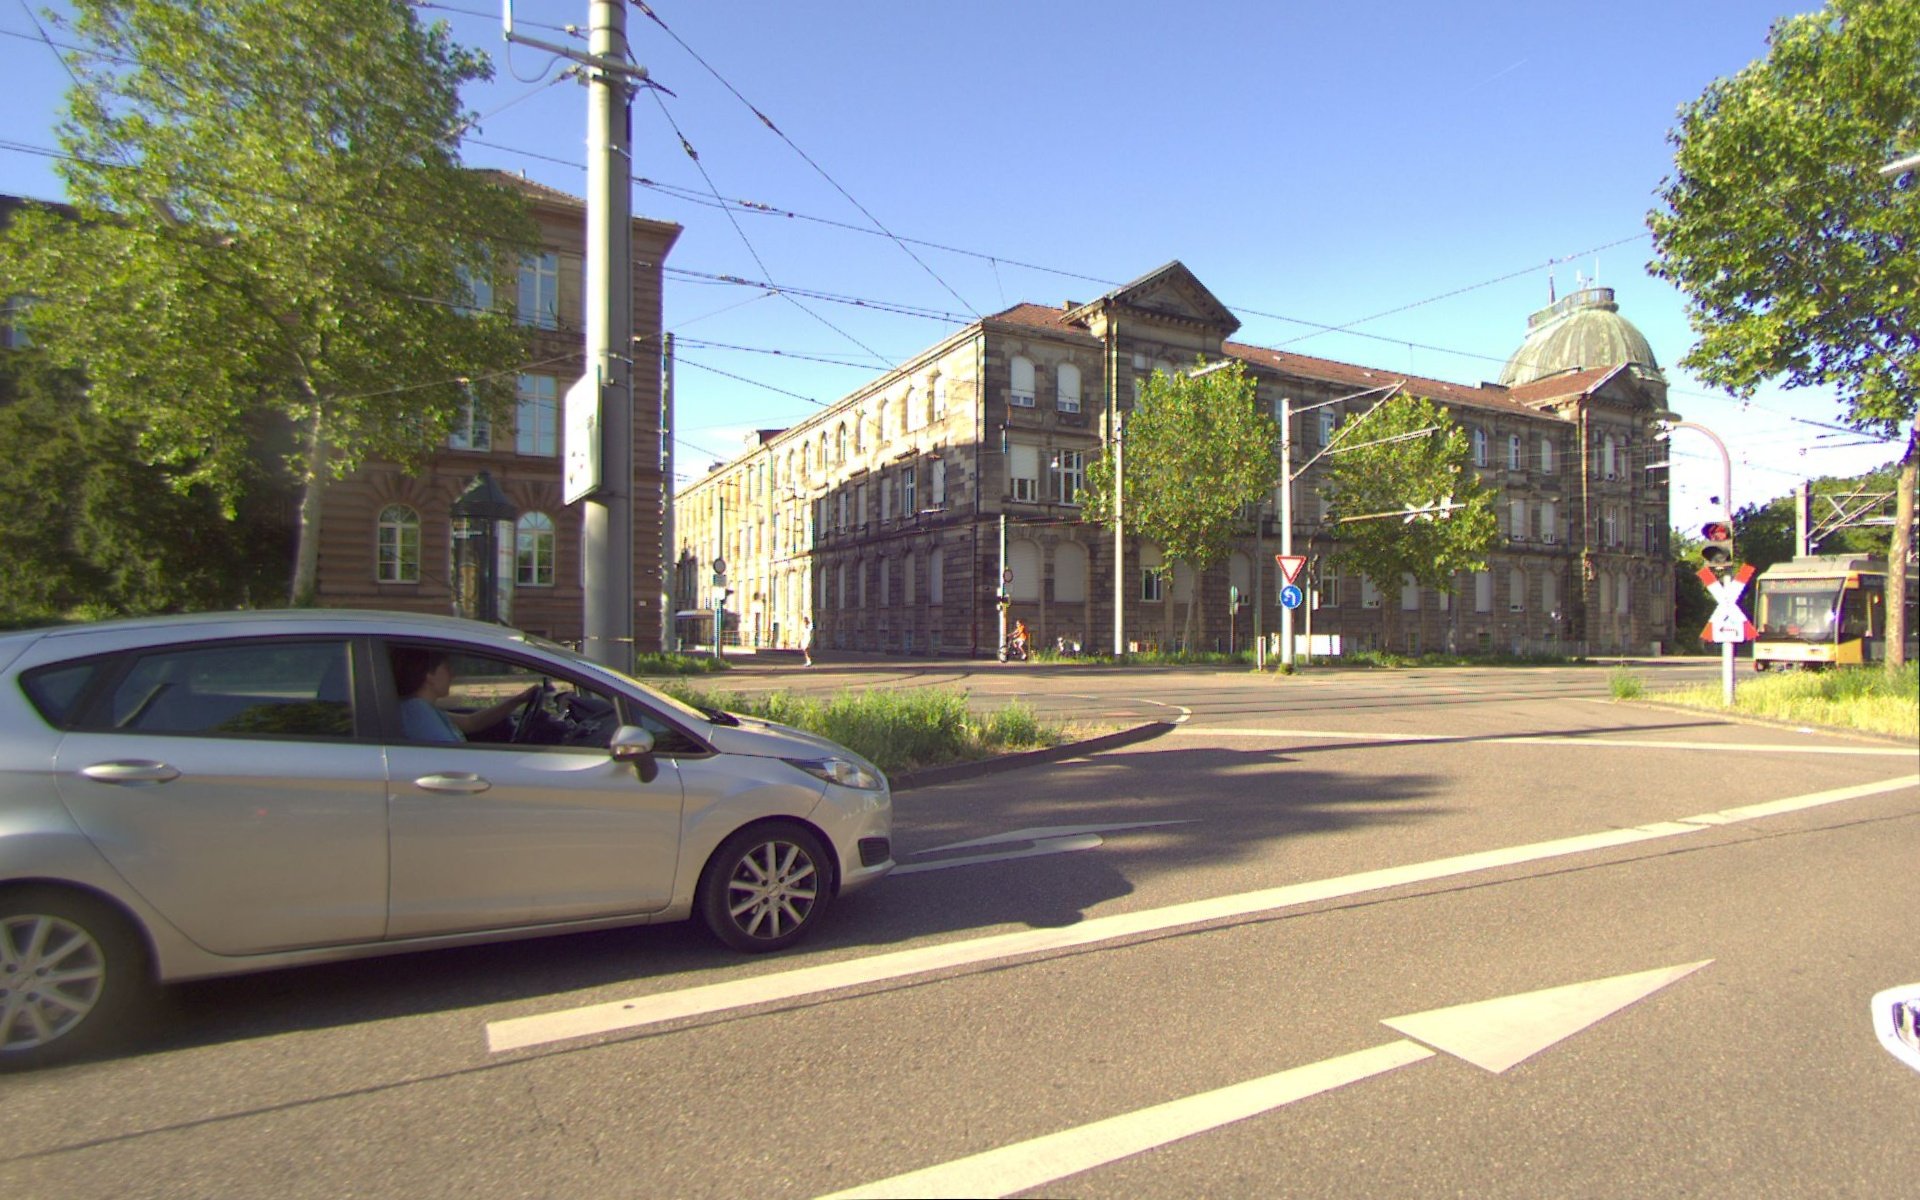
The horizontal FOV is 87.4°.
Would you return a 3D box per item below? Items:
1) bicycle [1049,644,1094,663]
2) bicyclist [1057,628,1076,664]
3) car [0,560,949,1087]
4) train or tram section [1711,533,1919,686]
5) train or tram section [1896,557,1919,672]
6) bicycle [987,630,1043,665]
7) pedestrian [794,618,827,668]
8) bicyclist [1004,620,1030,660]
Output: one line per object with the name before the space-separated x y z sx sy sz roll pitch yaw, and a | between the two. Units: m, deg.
bicycle | 4.831 2.327 43.472 1.864 0.732 0.526 2 0 -1
bicyclist | 4.602 1.977 43.460 0.716 1.481 0.797 1 0 1
car | -2.129 0.712 4.455 3.815 1.617 1.655 2 0 -28
train or tram section | 27.640 0.382 30.276 14.111 3.863 2.913 2 0 -31
train or tram section | 35.260 0.554 34.967 3.821 3.949 2.940 1 0 -31
bicycle | 2.329 2.007 42.245 2.316 1.408 0.524 2 0 -21
pedestrian | -5.686 1.632 38.140 0.989 1.824 0.859 1 0 -27
bicyclist | 2.403 1.688 42.248 0.858 1.646 0.672 1 0 -22
